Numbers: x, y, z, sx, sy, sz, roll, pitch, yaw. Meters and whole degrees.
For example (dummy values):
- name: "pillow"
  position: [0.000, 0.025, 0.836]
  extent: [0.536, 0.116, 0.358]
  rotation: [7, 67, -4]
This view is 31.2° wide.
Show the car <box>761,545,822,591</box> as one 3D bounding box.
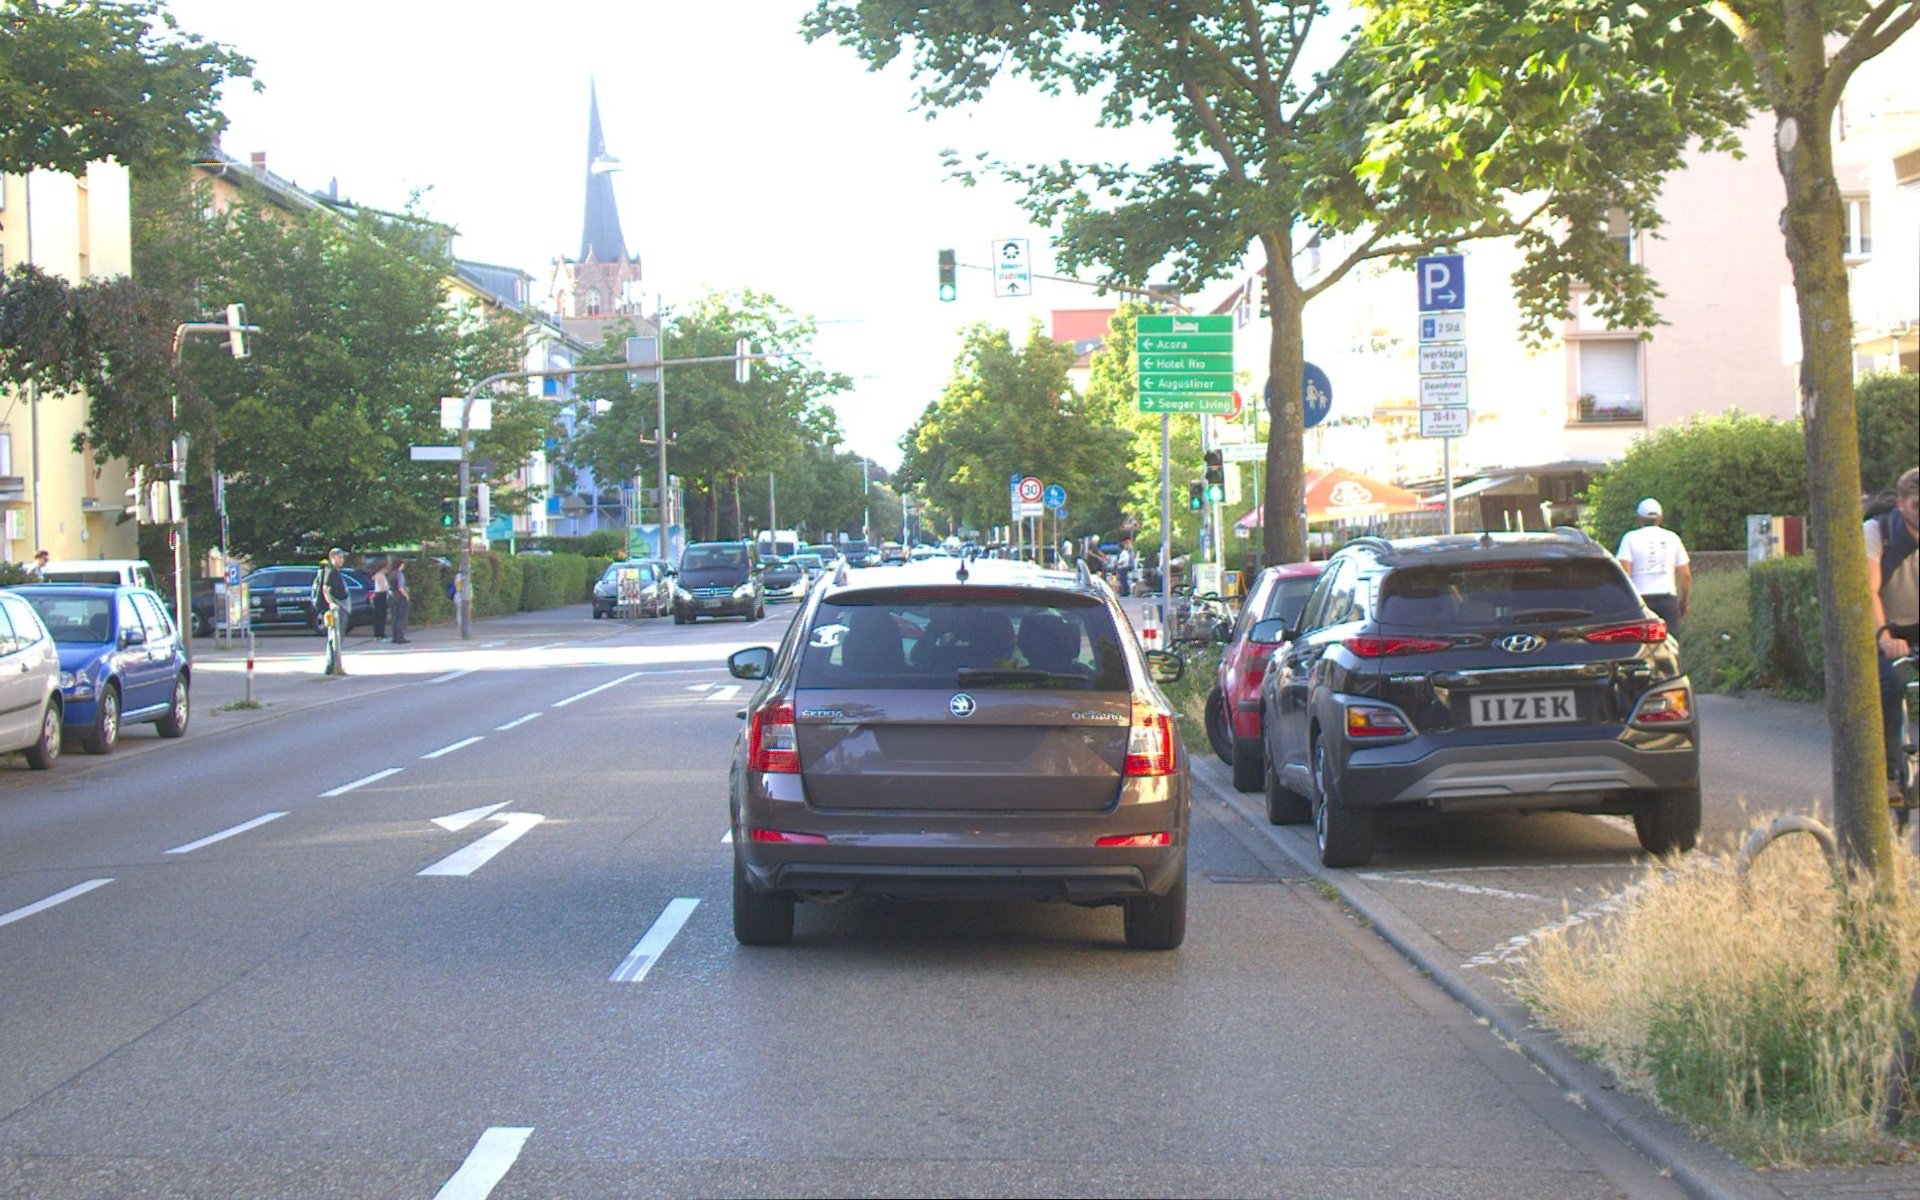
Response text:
- name: "car"
  position: [-6.173, -1.178, 126.368]
  extent: [1.993, 1.605, 4.000]
  rotation: [-1, 1, 0]

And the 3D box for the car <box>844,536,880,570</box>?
- name: "car"
  position: [-5.826, -2.804, 204.505]
  extent: [1.993, 2.007, 4.000]
  rotation: [-1, 1, 0]

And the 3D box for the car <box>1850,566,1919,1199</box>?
- name: "car"
  position: [2.806, 0.660, 5.167]
  extent: [1.708, 1.475, 4.268]
  rotation: [-3, 1, -1]

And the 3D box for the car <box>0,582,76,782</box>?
- name: "car"
  position: [-7.977, 0.614, 26.021]
  extent: [1.593, 1.465, 3.803]
  rotation: [1, 1, 0]

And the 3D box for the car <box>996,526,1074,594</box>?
- name: "car"
  position: [2.045, -1.075, 92.542]
  extent: [1.994, 1.766, 4.000]
  rotation: [1, 1, 2]

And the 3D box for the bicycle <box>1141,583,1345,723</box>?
- name: "bicycle"
  position: [2.455, 0.456, 29.766]
  extent: [1.687, 1.104, 0.517]
  rotation: [-4, 0, 6]

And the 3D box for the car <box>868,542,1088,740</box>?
- name: "car"
  position: [0.155, 0.299, 29.485]
  extent: [1.737, 1.565, 4.000]
  rotation: [1, 1, 0]

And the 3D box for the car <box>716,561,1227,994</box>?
- name: "car"
  position: [0.008, 0.591, 14.091]
  extent: [1.773, 1.484, 4.311]
  rotation: [0, 1, -1]

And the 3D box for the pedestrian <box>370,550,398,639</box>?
- name: "pedestrian"
  position: [-11.656, -0.117, 69.577]
  extent: [0.449, 1.791, 0.504]
  rotation: [-2, 1, 0]

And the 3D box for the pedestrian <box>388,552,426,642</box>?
- name: "pedestrian"
  position: [-11.142, -0.070, 69.269]
  extent: [0.616, 1.791, 0.504]
  rotation: [-2, 1, 0]

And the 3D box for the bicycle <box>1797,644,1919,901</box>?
- name: "bicycle"
  position: [4.134, 0.717, 14.957]
  extent: [0.516, 0.984, 1.831]
  rotation: [-1, 1, 0]

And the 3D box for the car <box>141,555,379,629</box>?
- name: "car"
  position: [-14.682, -0.179, 72.269]
  extent: [4.634, 1.530, 1.862]
  rotation: [0, 1, -1]

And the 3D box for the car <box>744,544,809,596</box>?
- name: "car"
  position: [-5.799, -0.958, 109.255]
  extent: [1.830, 1.574, 4.000]
  rotation: [-2, 1, 0]

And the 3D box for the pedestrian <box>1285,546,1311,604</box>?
- name: "pedestrian"
  position: [7.685, -0.566, 78.254]
  extent: [0.499, 1.298, 0.507]
  rotation: [-1, 1, -3]

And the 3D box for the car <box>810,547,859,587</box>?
- name: "car"
  position: [-5.049, -1.350, 138.999]
  extent: [1.787, 1.565, 4.000]
  rotation: [1, 1, 0]

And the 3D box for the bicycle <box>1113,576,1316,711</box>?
- name: "bicycle"
  position: [2.427, 0.412, 32.726]
  extent: [1.835, 1.153, 0.683]
  rotation: [-4, 0, 6]

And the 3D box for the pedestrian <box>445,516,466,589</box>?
- name: "pedestrian"
  position: [-10.353, -0.975, 70.569]
  extent: [0.301, 1.499, 0.640]
  rotation: [-1, 1, 0]

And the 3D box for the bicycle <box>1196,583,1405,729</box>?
- name: "bicycle"
  position: [2.657, 0.436, 26.924]
  extent: [1.570, 1.100, 0.501]
  rotation: [-1, 1, 1]

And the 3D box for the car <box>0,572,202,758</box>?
- name: "car"
  position: [-8.006, 0.522, 30.552]
  extent: [1.648, 1.512, 4.074]
  rotation: [0, 1, 0]

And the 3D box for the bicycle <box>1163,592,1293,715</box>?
- name: "bicycle"
  position: [2.432, 0.474, 31.008]
  extent: [0.619, 1.048, 1.571]
  rotation: [-1, 1, 26]

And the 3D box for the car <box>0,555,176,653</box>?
- name: "car"
  position: [-17.682, 0.086, 66.388]
  extent: [4.634, 1.805, 1.862]
  rotation: [-1, 1, 0]

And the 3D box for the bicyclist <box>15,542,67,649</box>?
- name: "bicyclist"
  position: [-15.777, -0.085, 59.028]
  extent: [0.739, 1.817, 0.654]
  rotation: [-1, 1, -9]

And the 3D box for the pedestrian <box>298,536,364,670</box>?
- name: "pedestrian"
  position: [-9.419, 0.037, 51.509]
  extent: [0.780, 1.981, 0.821]
  rotation: [-2, 1, 0]

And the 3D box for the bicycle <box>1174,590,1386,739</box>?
- name: "bicycle"
  position: [2.442, 0.488, 26.321]
  extent: [1.570, 1.100, 0.392]
  rotation: [-1, 1, 1]

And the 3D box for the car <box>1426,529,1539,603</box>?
- name: "car"
  position: [11.023, -0.735, 72.701]
  extent: [1.776, 1.481, 4.000]
  rotation: [-1, 1, 0]

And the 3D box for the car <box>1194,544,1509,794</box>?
- name: "car"
  position: [2.521, 0.389, 22.961]
  extent: [1.703, 1.445, 4.013]
  rotation: [-3, 1, 2]

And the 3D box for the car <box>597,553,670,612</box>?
- name: "car"
  position: [-8.378, -0.463, 88.298]
  extent: [1.522, 1.452, 3.585]
  rotation: [-1, 1, 0]

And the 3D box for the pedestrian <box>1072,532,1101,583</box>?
- name: "pedestrian"
  position: [4.212, -1.416, 114.380]
  extent: [0.675, 1.698, 0.800]
  rotation: [-1, 1, 26]

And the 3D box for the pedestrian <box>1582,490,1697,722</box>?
- name: "pedestrian"
  position: [5.267, 0.041, 26.669]
  extent: [0.662, 1.743, 0.772]
  rotation: [-3, 1, 0]

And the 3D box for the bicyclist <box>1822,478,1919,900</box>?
- name: "bicyclist"
  position: [4.164, 0.367, 14.962]
  extent: [0.581, 1.782, 0.852]
  rotation: [-1, 1, 0]

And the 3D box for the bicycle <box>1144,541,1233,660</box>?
- name: "bicycle"
  position: [2.307, 0.001, 34.946]
  extent: [0.501, 1.143, 1.959]
  rotation: [-4, 1, -6]

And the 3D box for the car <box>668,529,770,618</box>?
- name: "car"
  position: [-5.579, -0.643, 80.008]
  extent: [1.993, 1.902, 4.964]
  rotation: [-3, 1, -1]

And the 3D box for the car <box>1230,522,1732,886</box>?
- name: "car"
  position: [2.540, 0.443, 17.706]
  extent: [1.856, 1.576, 4.014]
  rotation: [-3, 1, -1]
